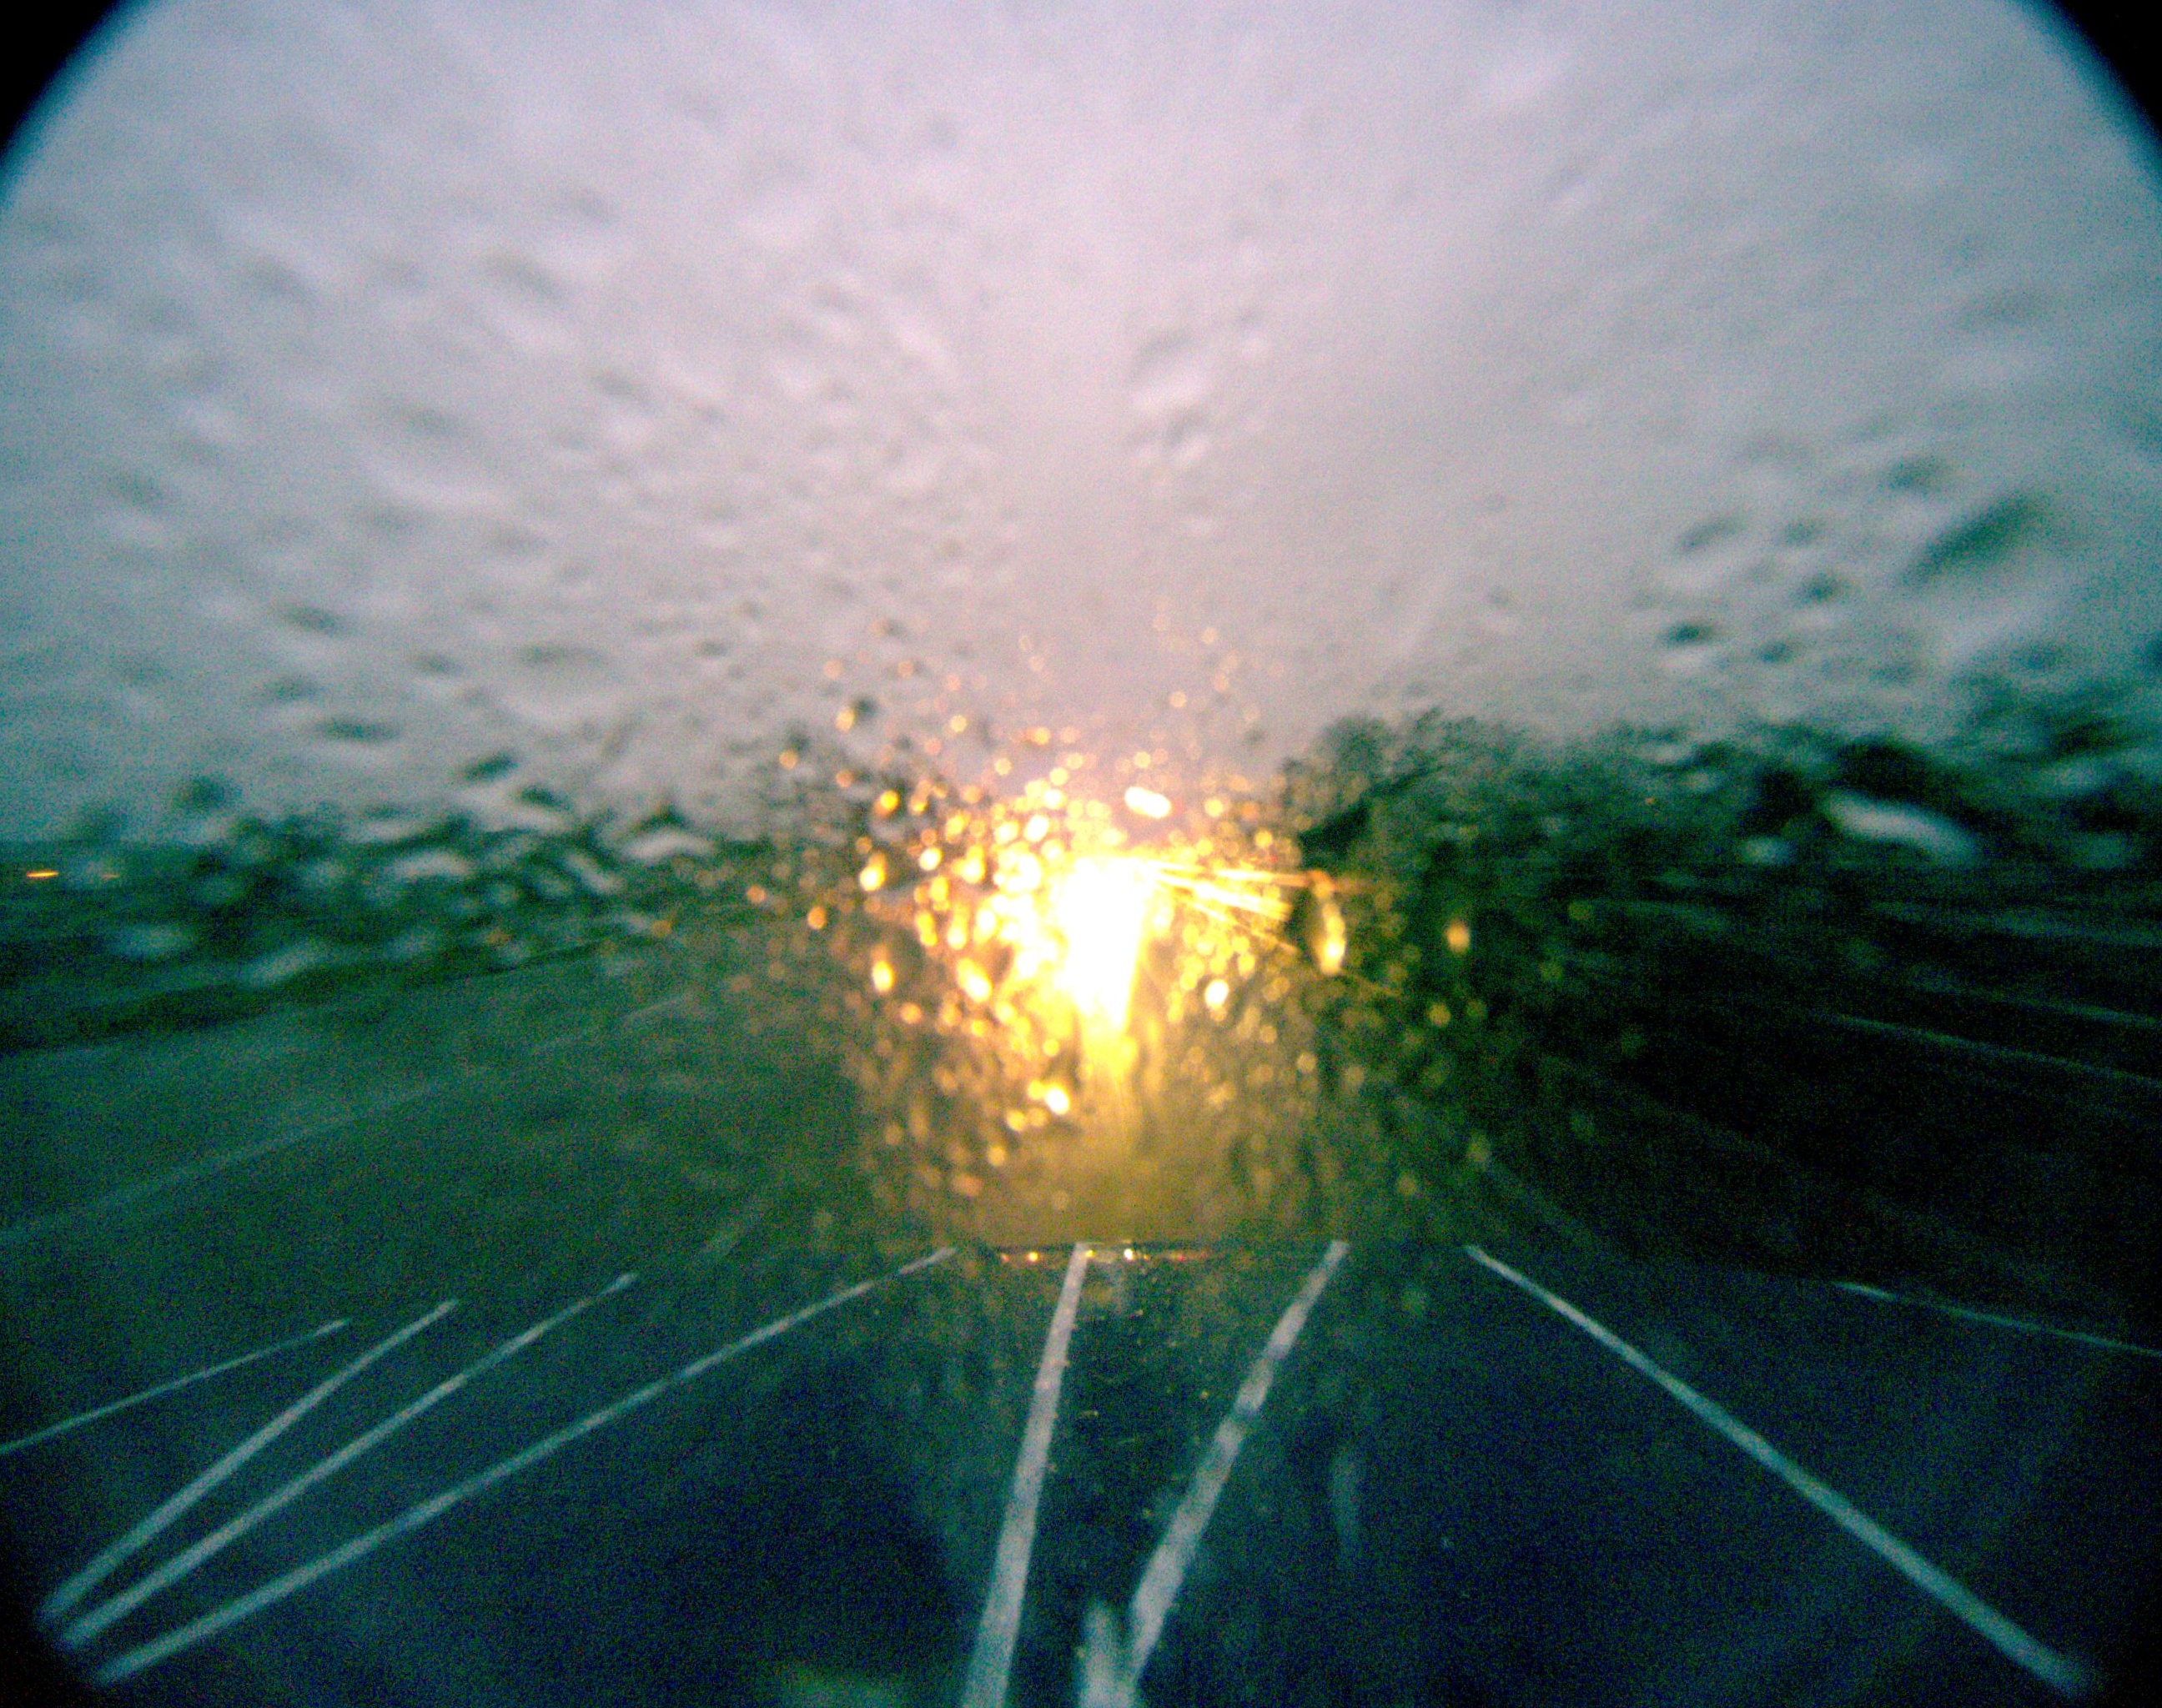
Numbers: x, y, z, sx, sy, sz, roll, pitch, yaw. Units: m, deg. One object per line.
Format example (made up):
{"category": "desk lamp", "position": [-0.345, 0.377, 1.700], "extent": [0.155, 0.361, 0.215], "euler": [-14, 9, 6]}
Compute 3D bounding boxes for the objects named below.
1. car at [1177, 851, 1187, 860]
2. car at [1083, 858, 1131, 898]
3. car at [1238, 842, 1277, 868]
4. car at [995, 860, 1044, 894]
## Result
{"category": "car", "position": [21.555, 0.285, 162.443], "extent": [1.749, 1.823, 4.136], "euler": [-1, 1, 4]}
{"category": "car", "position": [1.072, 0.955, 31.939], "extent": [1.850, 1.521, 4.149], "euler": [-2, 0, 1]}
{"category": "car", "position": [13.146, 0.095, 56.825], "extent": [1.900, 1.773, 4.704], "euler": [-3, 0, 2]}
{"category": "car", "position": [-3.009, 1.124, 38.083], "extent": [1.850, 1.521, 4.149], "euler": [-2, 0, 3]}
